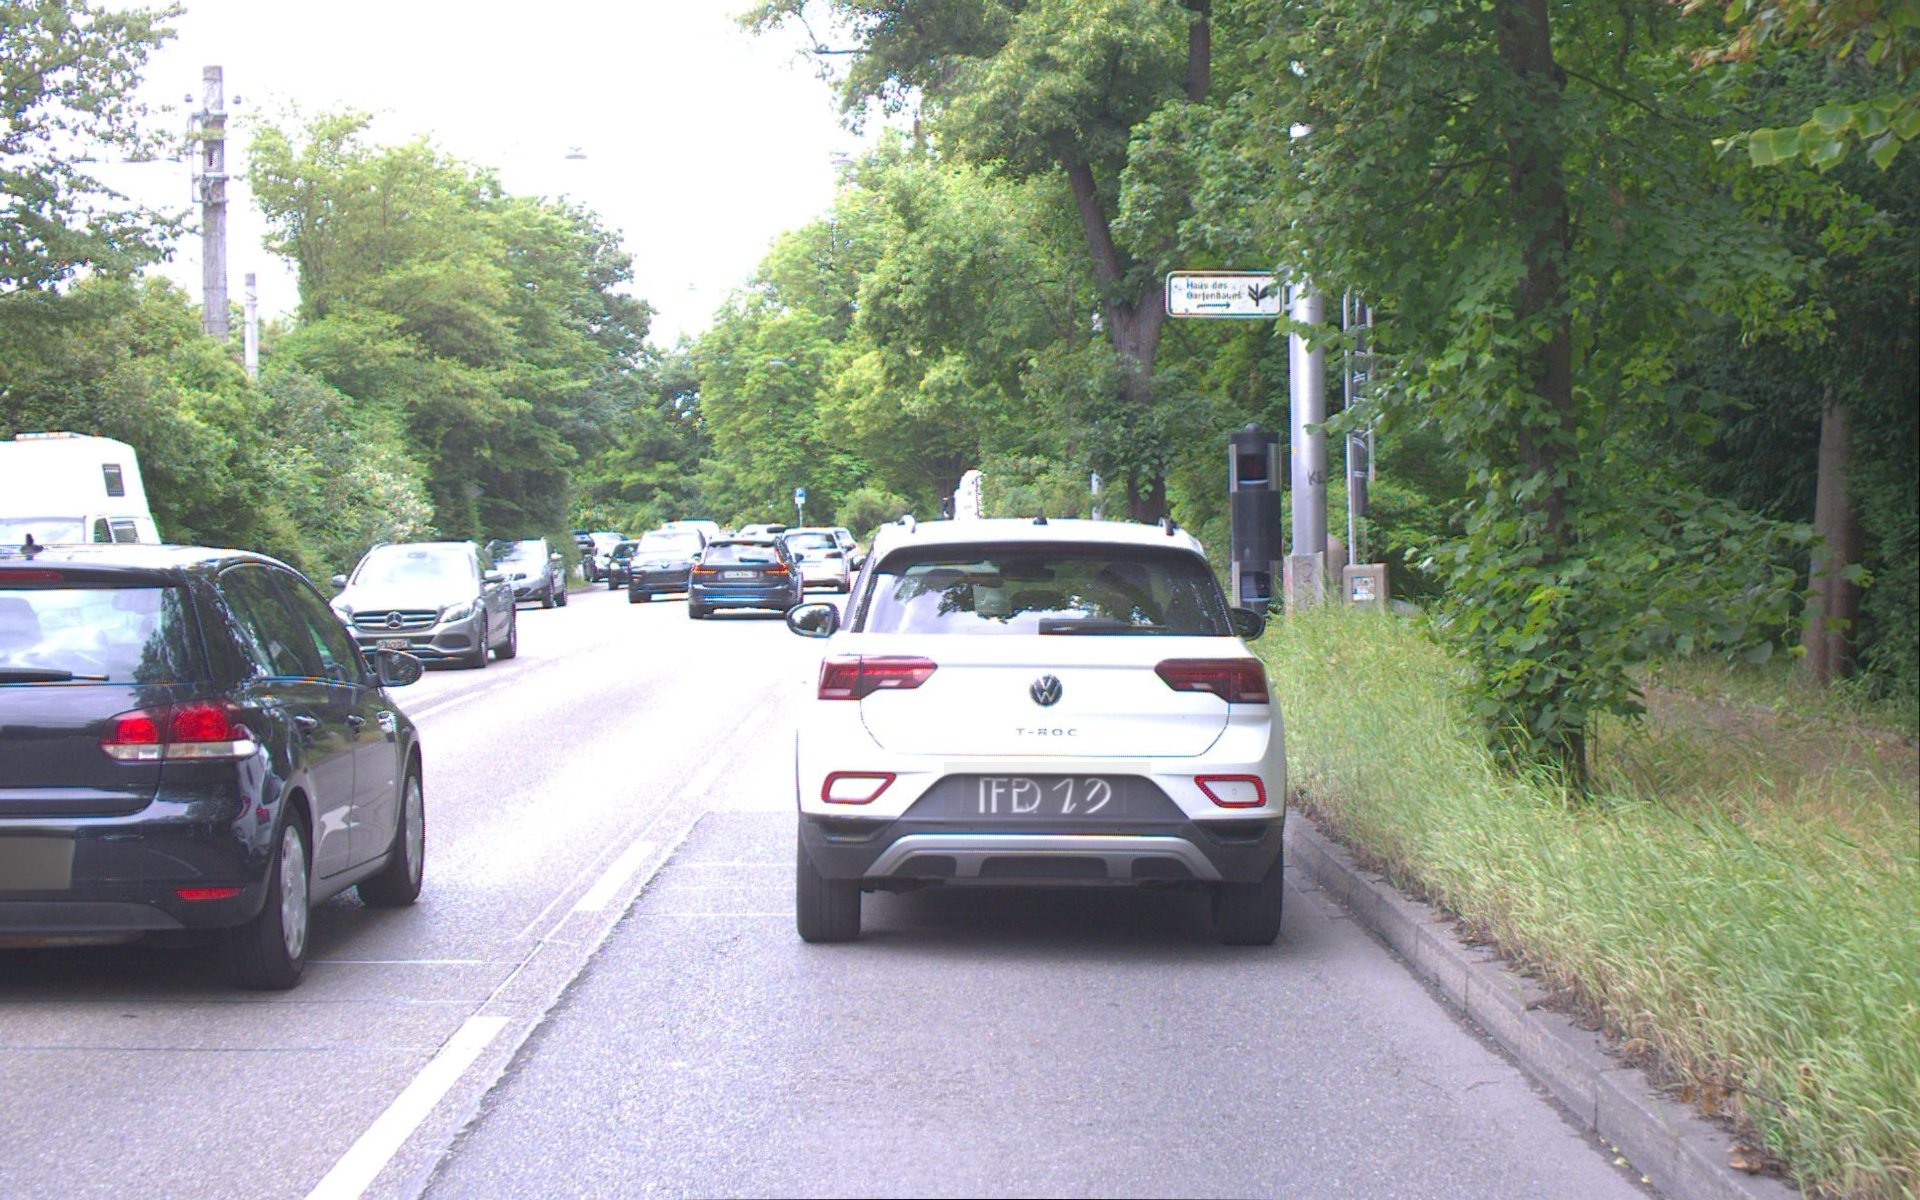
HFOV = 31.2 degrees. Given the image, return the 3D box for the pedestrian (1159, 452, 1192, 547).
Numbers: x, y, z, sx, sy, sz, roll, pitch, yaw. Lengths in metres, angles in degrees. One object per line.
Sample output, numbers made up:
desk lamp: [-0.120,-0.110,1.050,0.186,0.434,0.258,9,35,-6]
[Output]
pedestrian: [3.985,-1.860,63.582,0.519,1.747,0.525,1,1,-4]

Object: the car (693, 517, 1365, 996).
car: [0.091,0.498,13.547,2.000,1.590,4.001,1,1,-8]

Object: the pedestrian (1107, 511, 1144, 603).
pedestrian: [3.045,-0.794,63.404,0.608,1.692,0.549,1,1,-4]

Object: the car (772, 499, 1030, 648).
car: [-0.800,-0.367,43.256,1.851,1.697,4.001,-4,3,-22]

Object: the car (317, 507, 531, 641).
car: [-6.222,-0.321,40.343,1.839,1.460,4.466,1,1,-1]

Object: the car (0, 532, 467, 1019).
car: [-3.024,0.495,12.368,1.949,1.461,4.000,1,1,-1]

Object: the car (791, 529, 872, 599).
car: [-3.062,-0.869,82.476,1.821,1.617,4.000,1,1,-1]

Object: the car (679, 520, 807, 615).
car: [-3.747,-0.590,59.999,1.993,1.586,4.000,1,1,-1]

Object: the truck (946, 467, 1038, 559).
truck: [1.113,-3.071,122.943,2.481,3.171,7.230,1,1,-6]

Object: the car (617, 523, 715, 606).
car: [-6.756,-0.792,79.348,1.810,1.656,4.829,-2,-2,0]

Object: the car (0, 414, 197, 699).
car: [-9.047,-0.393,33.698,1.887,2.547,4.915,-4,1,0]
